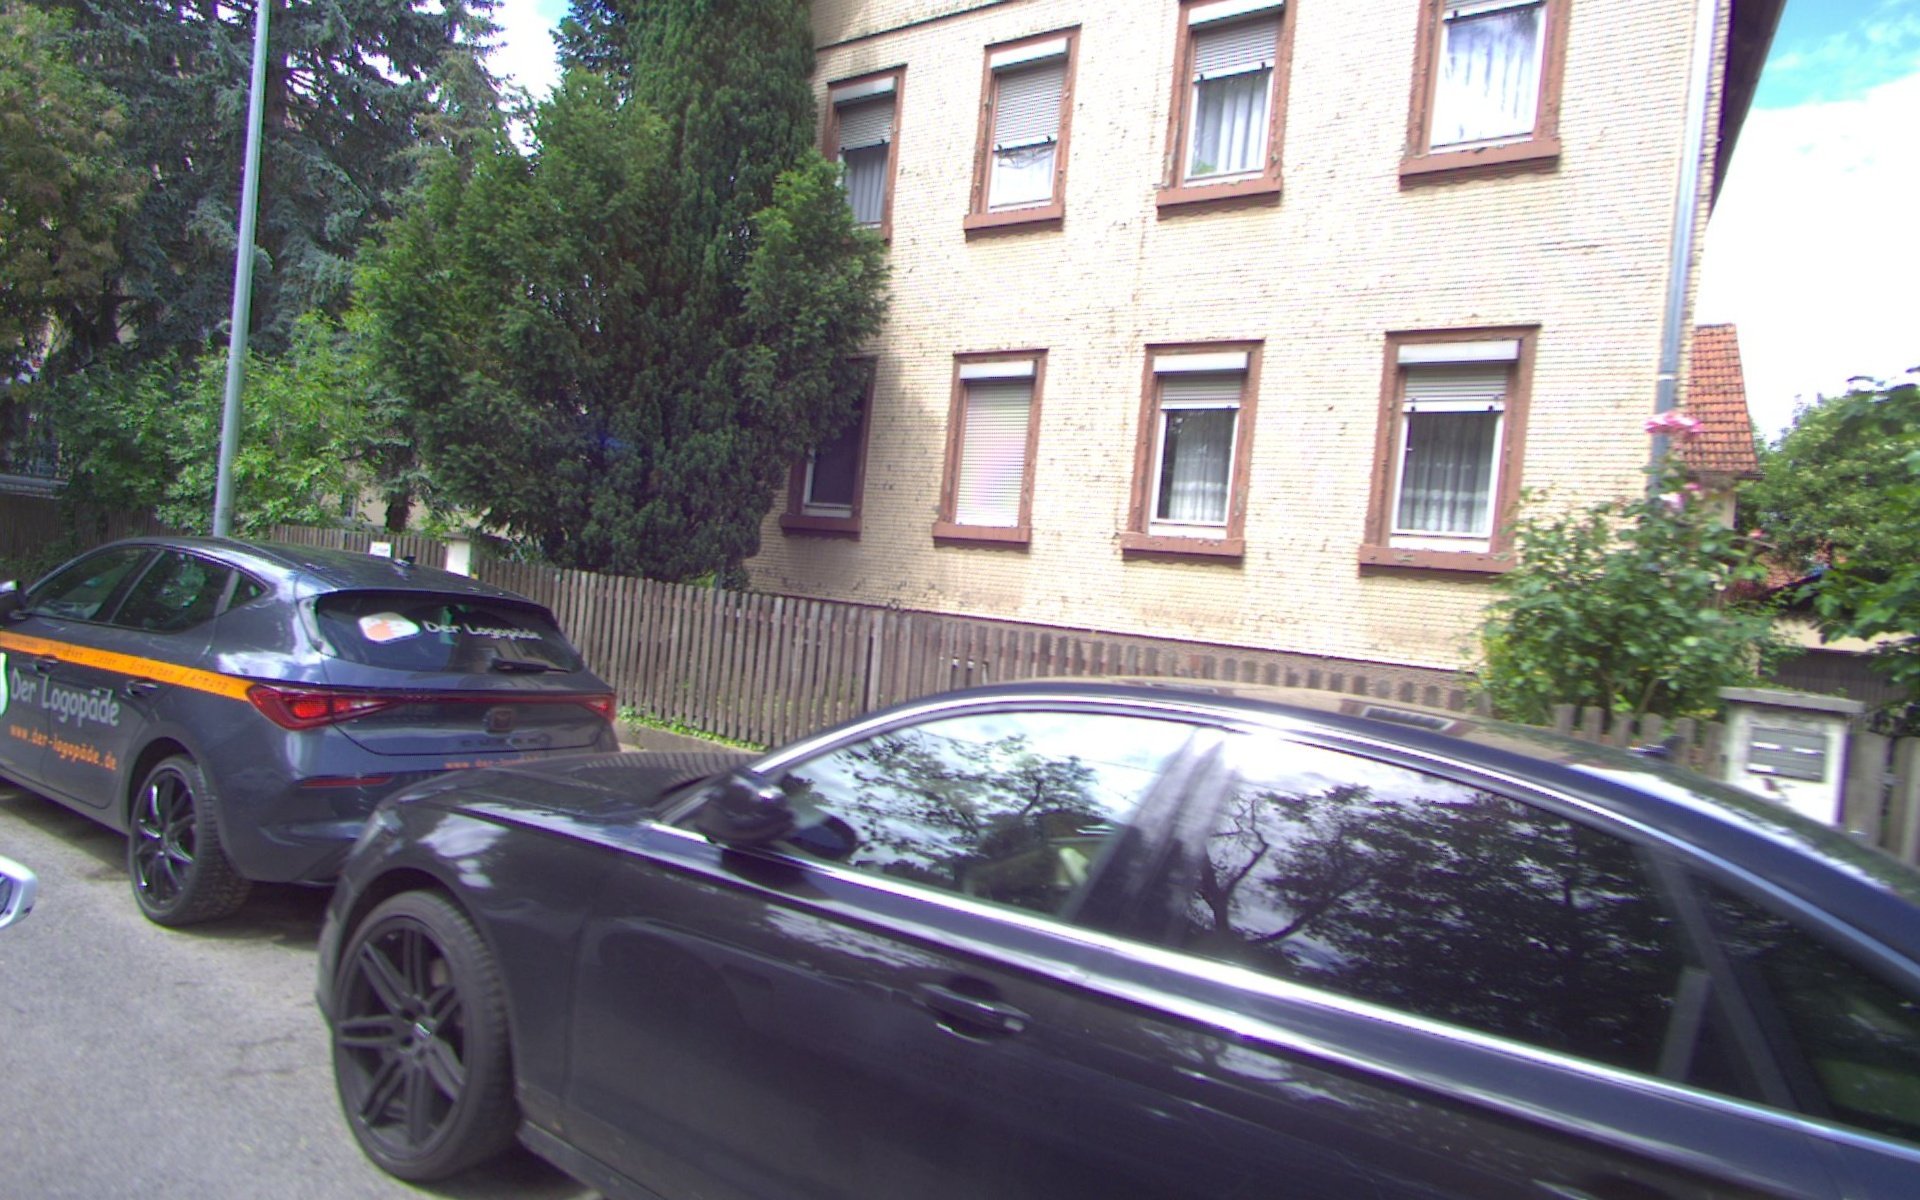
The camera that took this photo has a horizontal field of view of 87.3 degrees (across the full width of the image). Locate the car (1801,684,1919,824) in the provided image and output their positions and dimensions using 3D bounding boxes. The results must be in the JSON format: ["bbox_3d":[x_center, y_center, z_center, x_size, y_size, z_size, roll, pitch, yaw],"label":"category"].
[{"bbox_3d":[13.263,2.109,13.600,1.643,1.550,3.996,6,1,23],"label":"car"}]

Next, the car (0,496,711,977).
[{"bbox_3d":[-3.649,0.364,5.168,4.432,1.434,1.828,7,-1,29],"label":"car"}]

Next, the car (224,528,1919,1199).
[{"bbox_3d":[0.580,0.871,2.318,4.804,1.462,1.806,7,-2,30],"label":"car"}]
